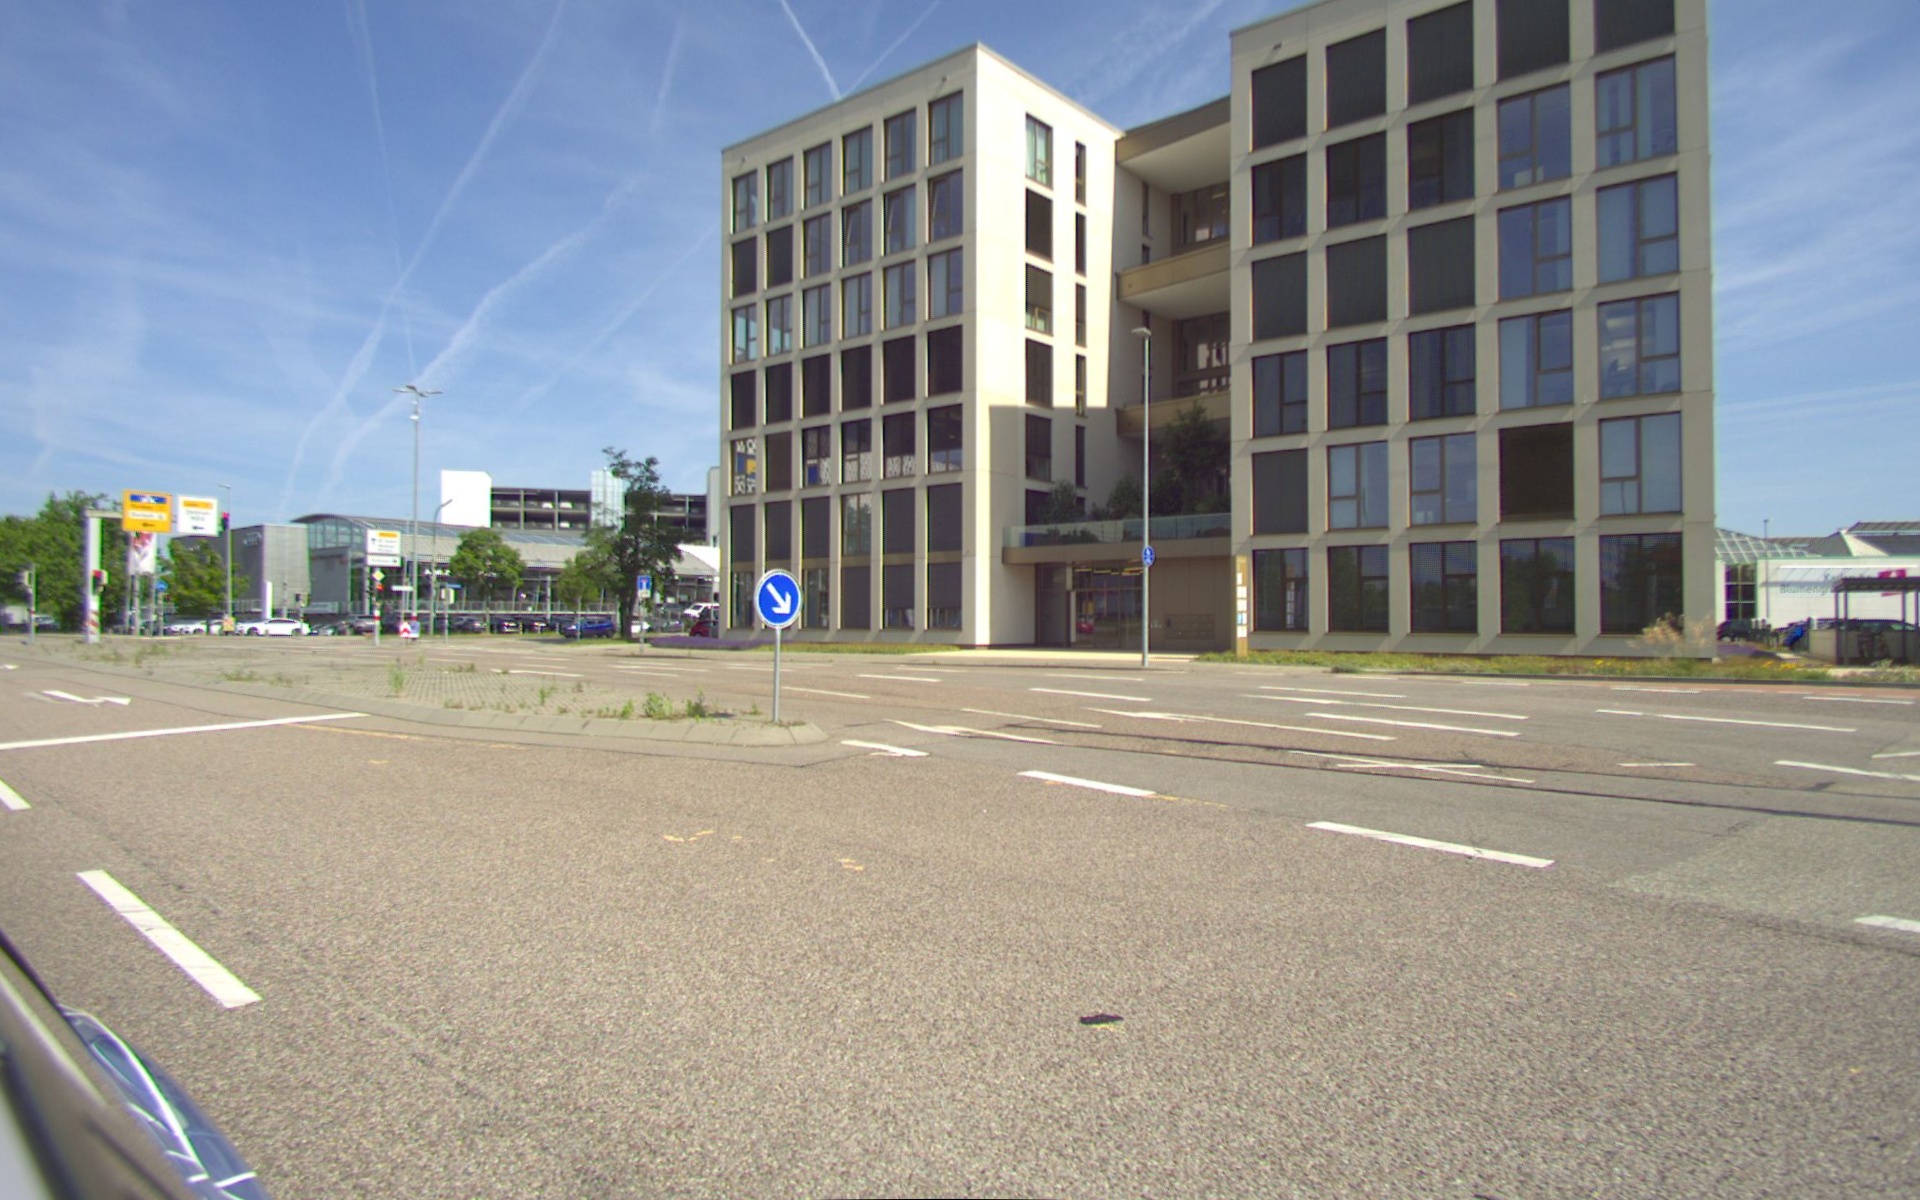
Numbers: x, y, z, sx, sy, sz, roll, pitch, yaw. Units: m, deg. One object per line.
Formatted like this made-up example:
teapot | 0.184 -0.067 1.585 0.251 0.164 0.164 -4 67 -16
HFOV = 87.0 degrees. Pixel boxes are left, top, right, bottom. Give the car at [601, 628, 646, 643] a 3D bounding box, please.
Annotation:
car | -33.143 3.482 99.651 3.957 1.453 1.803 1 -2 -25

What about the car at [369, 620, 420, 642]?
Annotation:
car | -42.553 2.347 76.148 4.191 1.453 1.772 -4 -4 35

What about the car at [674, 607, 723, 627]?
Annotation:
car | -26.178 1.682 101.439 2.083 1.922 4.495 3 1 34

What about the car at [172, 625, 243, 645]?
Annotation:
car | -58.865 2.726 79.242 1.874 1.380 4.036 -1 -5 35

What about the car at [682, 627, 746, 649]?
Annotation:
car | -16.266 2.507 67.071 3.968 1.426 1.810 0 -2 -6

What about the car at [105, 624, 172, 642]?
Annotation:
car | -72.119 2.946 88.918 1.798 1.405 4.179 -1 -5 35

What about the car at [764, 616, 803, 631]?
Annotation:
car | -19.153 2.550 110.044 1.996 1.586 3.937 -1 -1 36

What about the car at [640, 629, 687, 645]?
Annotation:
car | -27.922 3.472 95.428 3.957 1.453 1.803 1 -2 -28

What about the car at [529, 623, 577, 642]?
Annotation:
car | -35.085 2.786 87.288 4.392 1.453 1.772 -4 -4 35

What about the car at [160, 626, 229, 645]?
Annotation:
car | -61.017 2.842 80.736 1.865 1.329 3.951 -1 -5 36

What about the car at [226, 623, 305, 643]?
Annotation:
car | -50.250 2.377 73.300 1.897 1.443 4.331 -1 -2 37

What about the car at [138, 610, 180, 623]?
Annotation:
car | -109.225 2.214 137.965 1.687 1.511 4.148 -1 -5 37

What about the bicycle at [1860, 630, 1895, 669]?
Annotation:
bicycle | 26.737 1.424 29.506 0.587 1.099 1.687 -1 -1 37

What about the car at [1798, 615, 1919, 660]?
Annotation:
car | 36.399 1.485 40.705 3.993 1.718 1.925 -1 -2 37

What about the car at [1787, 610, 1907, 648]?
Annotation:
car | 40.930 1.339 46.842 3.993 1.718 1.925 -1 -2 37

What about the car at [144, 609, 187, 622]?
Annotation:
car | -105.338 2.068 134.202 1.687 1.416 4.148 -1 -5 37

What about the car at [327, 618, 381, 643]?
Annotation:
car | -44.538 2.240 74.315 4.587 1.626 1.797 -4 -4 37

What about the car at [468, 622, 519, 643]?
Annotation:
car | -38.325 2.664 83.114 4.664 1.529 1.762 -4 -4 35

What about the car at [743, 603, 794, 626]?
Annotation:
car | -21.082 1.590 111.592 2.085 2.360 5.483 -2 -1 36

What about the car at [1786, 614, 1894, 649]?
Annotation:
car | 45.088 1.607 51.947 3.993 1.718 1.925 -1 -2 37

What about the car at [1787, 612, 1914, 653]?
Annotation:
car | 39.101 1.423 44.586 3.993 1.718 1.925 -1 -2 37

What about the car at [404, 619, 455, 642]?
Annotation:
car | -41.234 2.398 78.639 4.366 1.556 1.772 -4 -4 35

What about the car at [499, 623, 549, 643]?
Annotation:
car | -36.695 2.770 85.110 4.621 1.453 1.772 -4 -4 35

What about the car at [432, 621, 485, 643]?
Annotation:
car | -40.104 2.575 80.926 4.766 1.517 1.772 -4 -4 35

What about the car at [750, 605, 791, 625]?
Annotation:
car | -23.173 1.829 123.846 2.155 2.296 4.633 -1 -2 36

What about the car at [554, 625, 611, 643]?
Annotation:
car | -28.507 2.552 76.488 1.660 1.299 3.750 -1 -2 43

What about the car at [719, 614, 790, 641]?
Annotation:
car | -14.217 1.920 70.120 4.738 1.835 1.901 0 -2 -8
